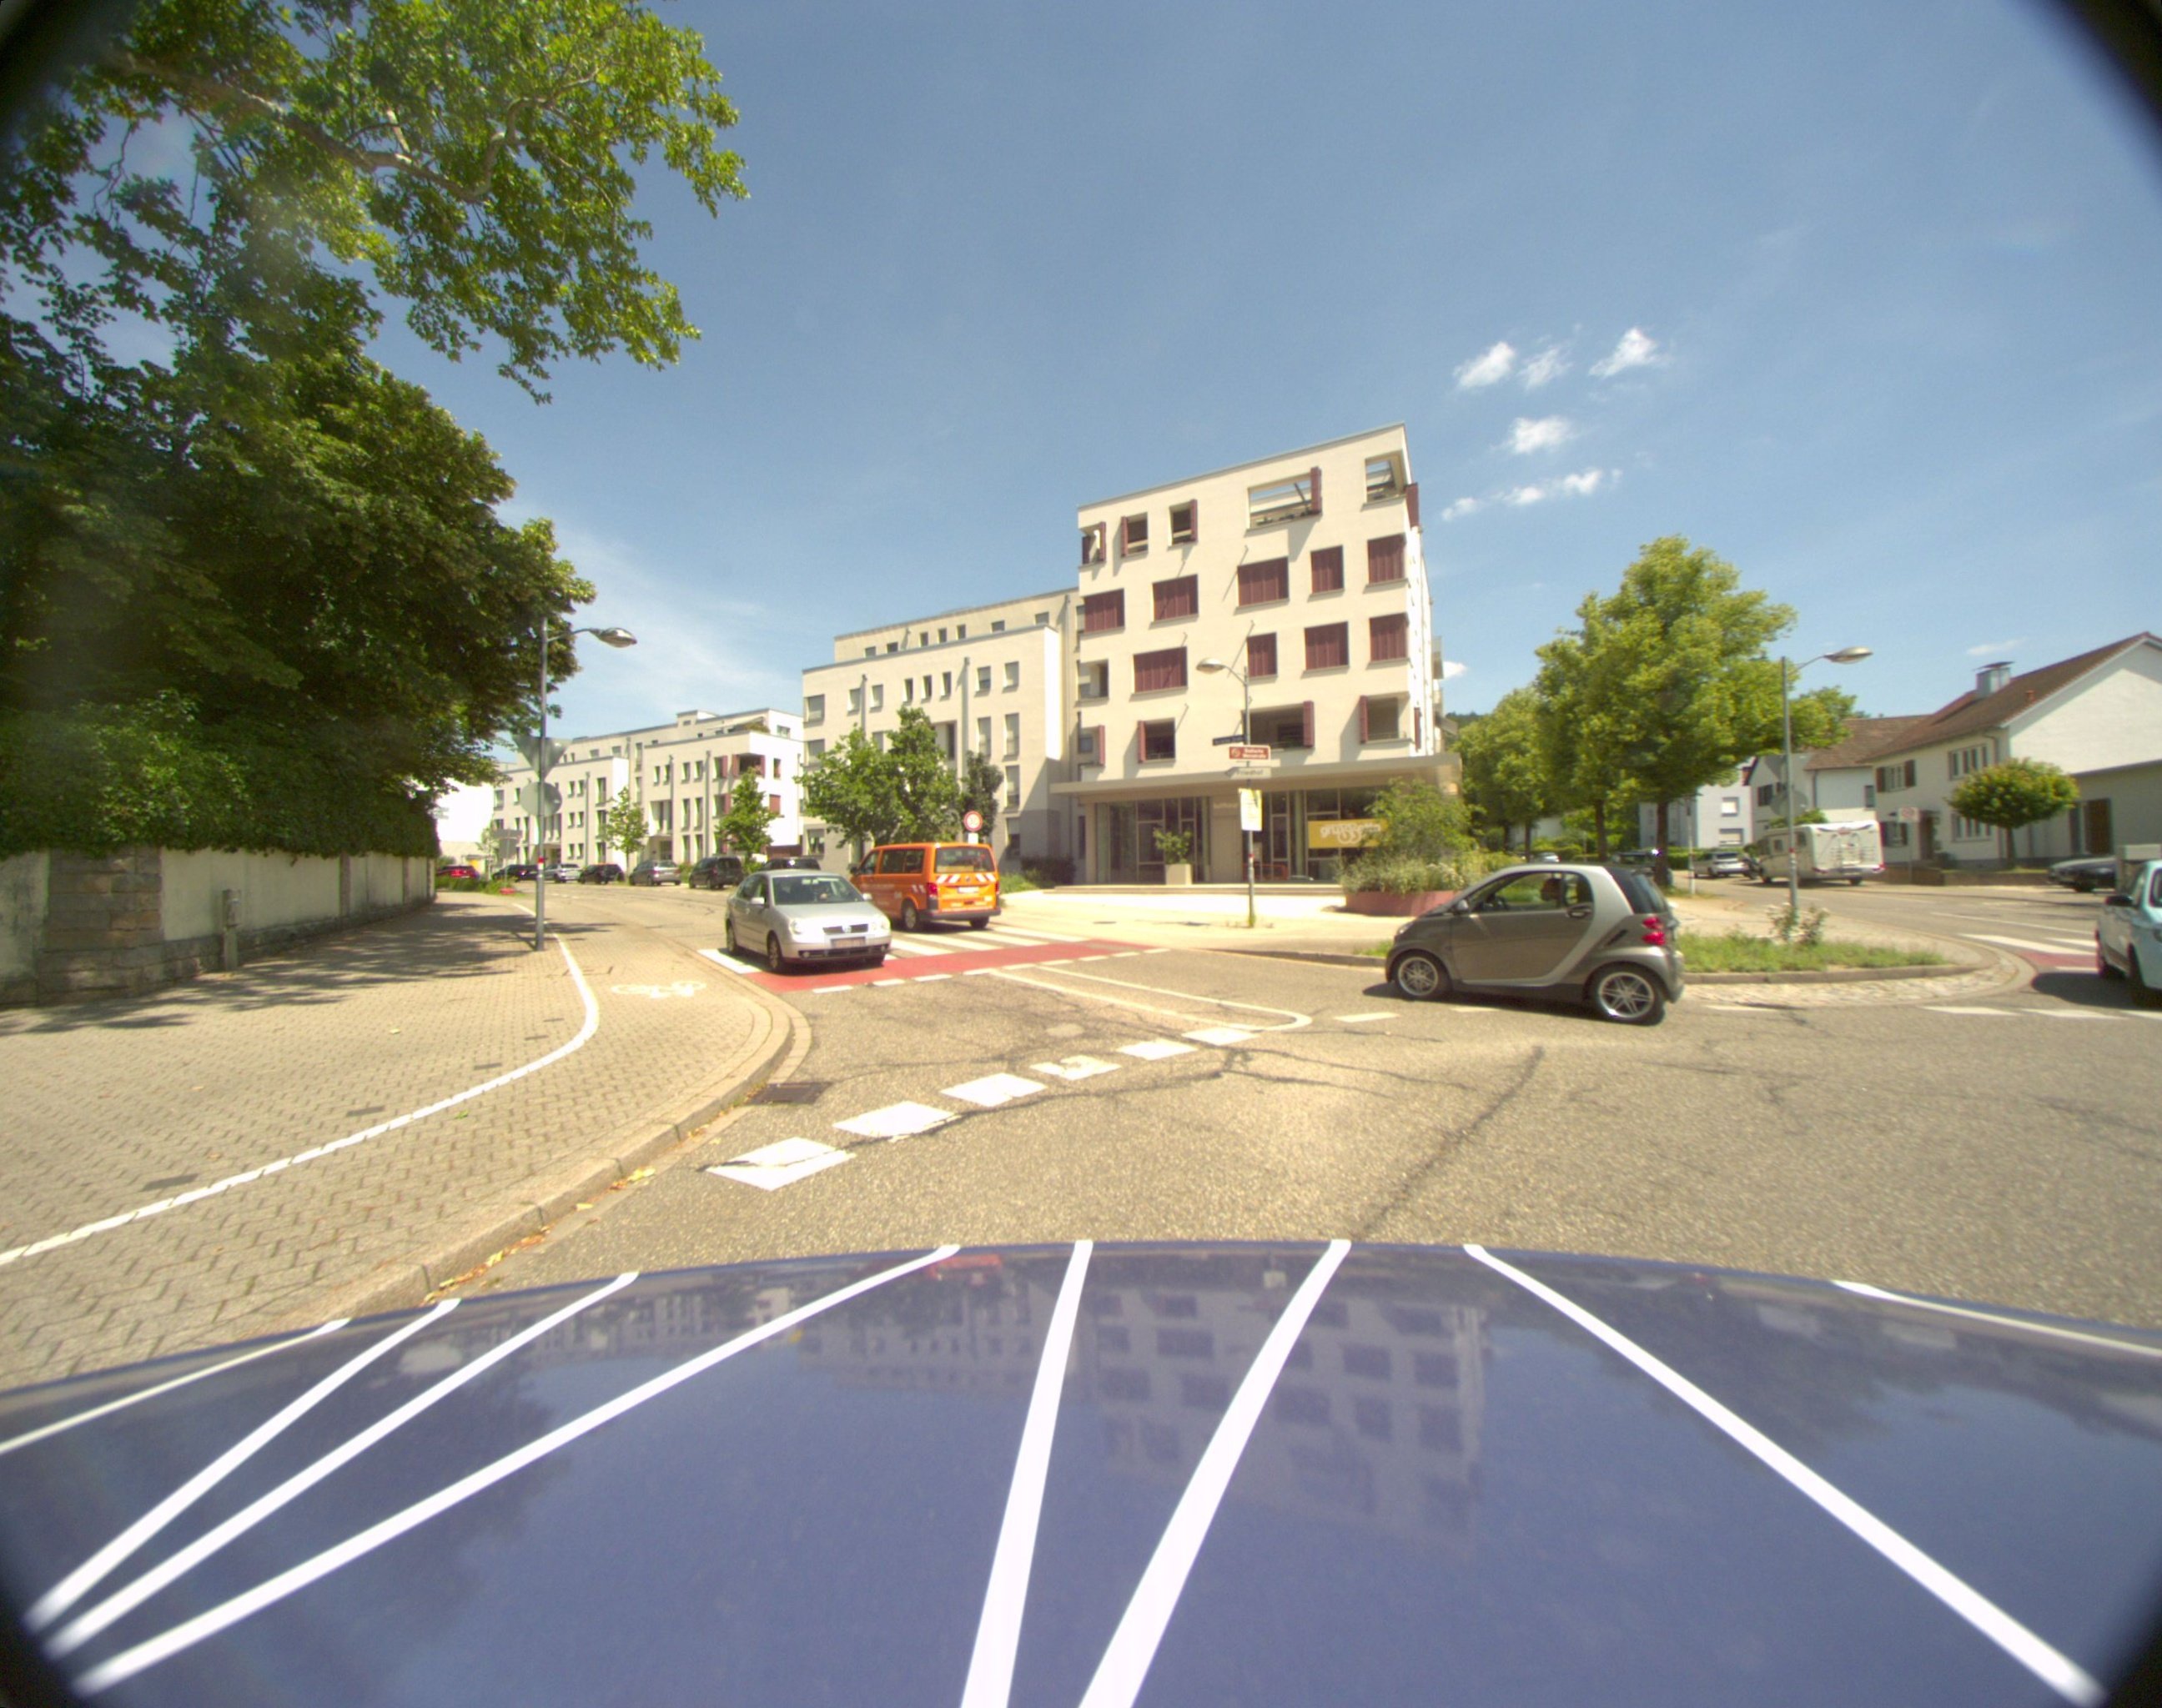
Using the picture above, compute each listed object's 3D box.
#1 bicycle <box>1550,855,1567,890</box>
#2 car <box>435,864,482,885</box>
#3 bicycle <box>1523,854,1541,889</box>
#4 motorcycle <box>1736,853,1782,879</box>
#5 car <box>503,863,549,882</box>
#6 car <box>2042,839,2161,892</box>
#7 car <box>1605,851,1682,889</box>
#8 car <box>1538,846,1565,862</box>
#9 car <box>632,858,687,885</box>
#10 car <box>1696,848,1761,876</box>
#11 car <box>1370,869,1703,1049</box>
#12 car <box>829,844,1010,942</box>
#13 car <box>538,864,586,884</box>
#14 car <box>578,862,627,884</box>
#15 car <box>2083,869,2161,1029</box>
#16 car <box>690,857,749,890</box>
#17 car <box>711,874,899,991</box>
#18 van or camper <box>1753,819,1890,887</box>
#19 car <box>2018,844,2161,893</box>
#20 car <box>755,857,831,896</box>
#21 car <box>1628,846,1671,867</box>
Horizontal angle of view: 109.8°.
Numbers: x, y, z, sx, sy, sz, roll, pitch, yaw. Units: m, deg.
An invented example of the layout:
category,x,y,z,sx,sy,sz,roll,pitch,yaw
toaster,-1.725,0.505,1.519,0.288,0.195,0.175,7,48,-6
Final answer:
category,x,y,z,sx,sy,sz,roll,pitch,yaw
bicycle,19.049,0.714,30.315,0.568,1.370,1.751,0,1,33
car,-46.435,1.527,56.686,3.981,1.496,1.760,-1,0,36
bicycle,18.288,0.674,30.809,0.568,1.370,1.751,0,1,33
motorcycle,34.334,0.588,38.481,2.235,1.312,0.738,0,1,-19
car,-43.614,1.430,59.691,3.711,1.405,1.711,0,0,33
car,32.600,0.335,23.125,3.986,1.576,1.758,-1,0,11
car,23.762,0.627,32.249,1.752,1.496,3.999,-1,0,23
car,52.288,-0.034,84.502,1.995,1.657,4.006,0,1,22
car,-26.315,1.060,47.413,3.617,1.580,1.795,0,0,40
car,36.046,0.424,42.434,1.752,1.496,3.999,-1,0,25
car,4.793,0.958,8.122,2.781,1.521,1.573,-2,0,42
car,-3.978,0.792,17.988,1.954,1.948,5.006,-2,1,-41
car,-38.285,1.438,56.021,3.711,1.405,1.711,0,0,35
car,-33.059,1.283,52.506,3.617,1.405,1.711,0,0,38
car,12.456,0.927,8.155,4.171,1.516,1.656,1,-2,-42
car,-19.430,0.992,40.770,3.617,1.690,1.703,0,0,45
car,-4.529,1.095,12.119,1.611,1.443,3.989,-1,0,-39
van or camper,32.252,-0.043,33.375,2.269,2.622,5.895,-3,-1,24
car,34.925,0.467,25.552,3.983,1.576,1.759,-1,0,20
car,-13.180,0.969,34.644,4.009,1.628,1.703,0,0,45
car,42.189,0.209,56.434,1.752,1.496,3.999,-1,0,25
